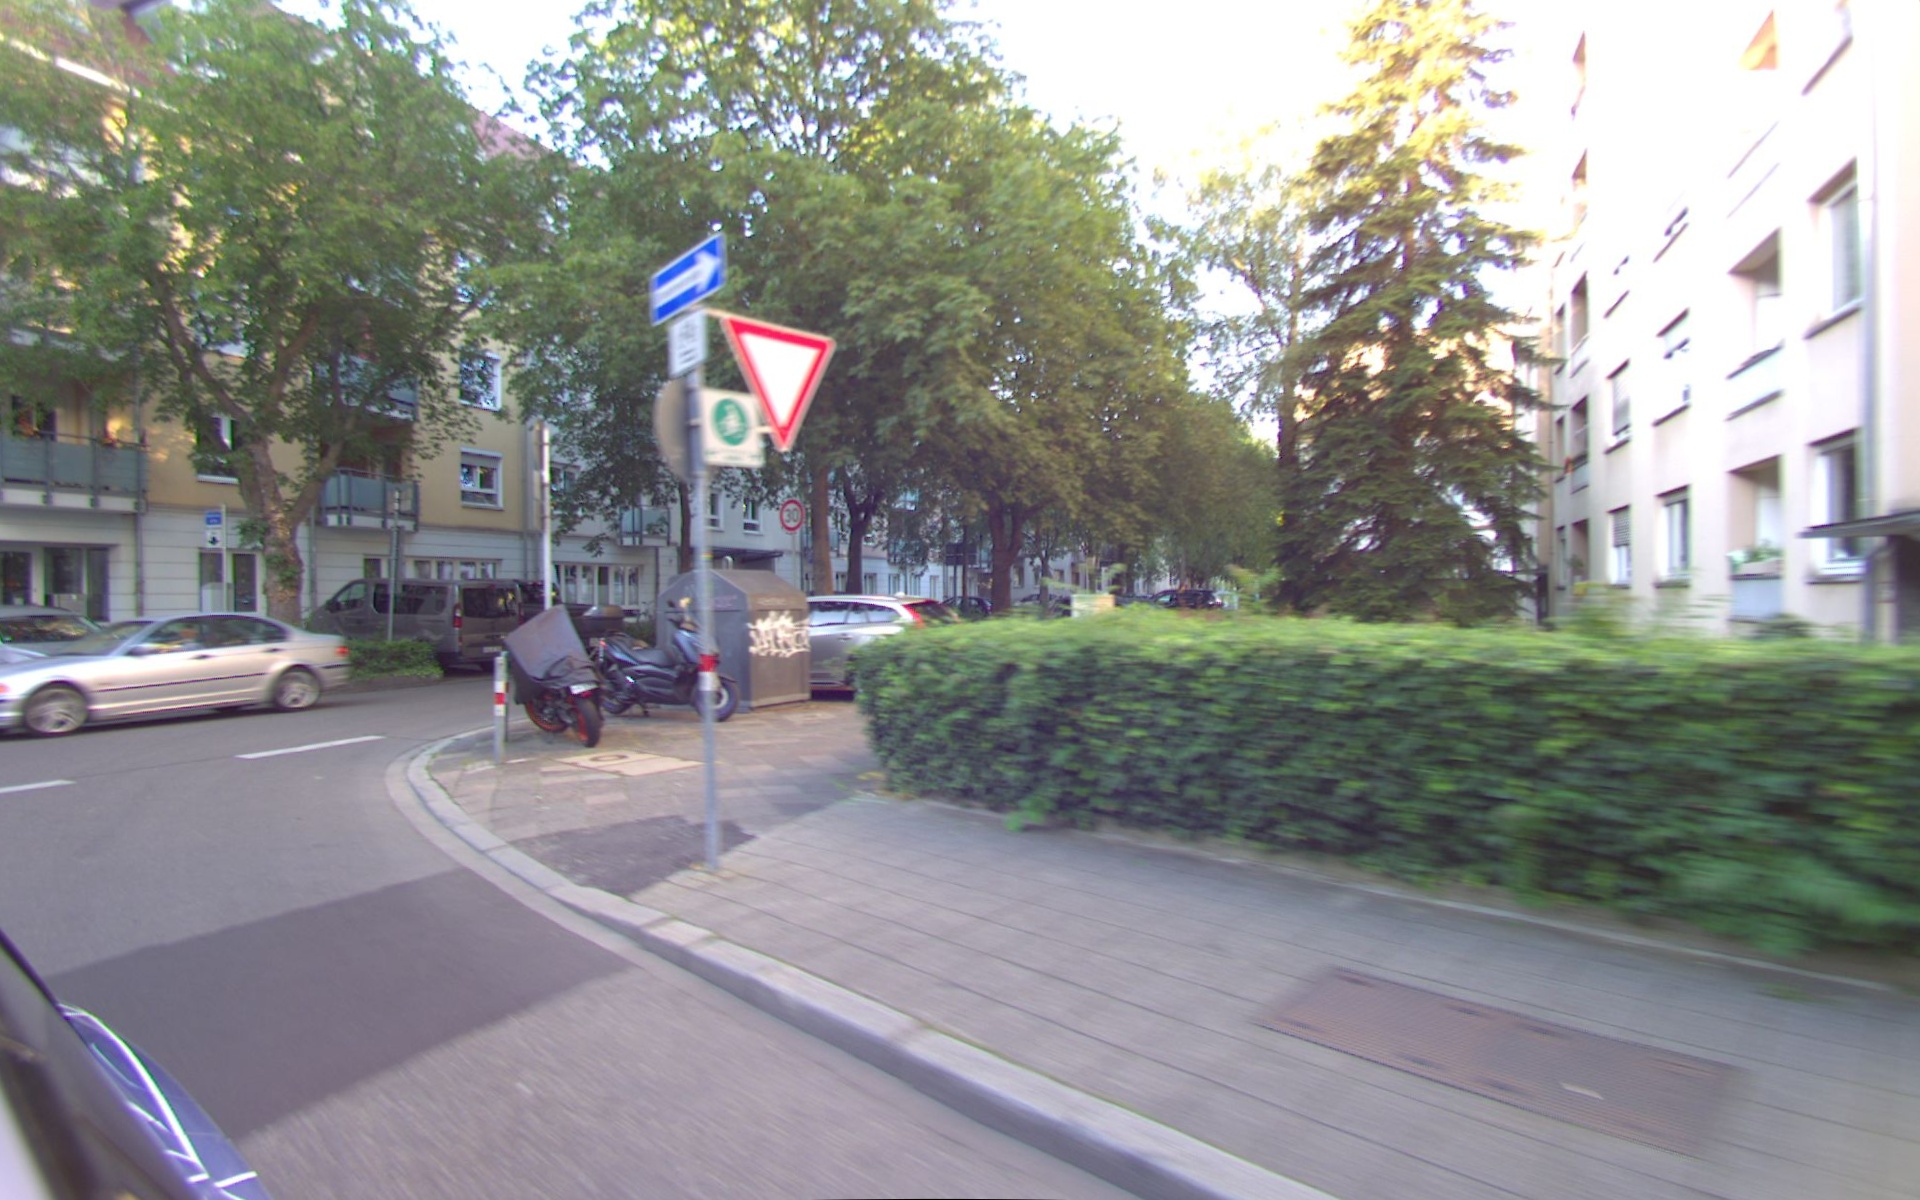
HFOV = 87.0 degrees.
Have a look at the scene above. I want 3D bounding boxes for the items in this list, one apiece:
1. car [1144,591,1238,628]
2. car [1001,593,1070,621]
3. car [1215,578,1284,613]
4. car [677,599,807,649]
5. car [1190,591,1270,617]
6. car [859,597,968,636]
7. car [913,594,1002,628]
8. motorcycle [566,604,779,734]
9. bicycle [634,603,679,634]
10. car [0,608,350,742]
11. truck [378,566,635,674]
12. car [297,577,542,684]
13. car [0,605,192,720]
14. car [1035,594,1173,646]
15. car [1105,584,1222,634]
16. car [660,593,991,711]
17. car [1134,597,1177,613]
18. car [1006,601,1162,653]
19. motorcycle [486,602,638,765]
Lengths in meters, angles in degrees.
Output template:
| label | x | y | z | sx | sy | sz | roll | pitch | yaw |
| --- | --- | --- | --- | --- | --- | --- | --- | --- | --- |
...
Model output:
| label | x | y | z | sx | sy | sz | roll | pitch | yaw |
| --- | --- | --- | --- | --- | --- | --- | --- | --- | --- |
| car | 11.858 | 0.474 | 51.874 | 4.487 | 1.785 | 1.986 | -1 | 0 | 21 |
| car | 4.811 | 0.445 | 64.302 | 3.955 | 1.597 | 1.902 | 2 | 1 | 22 |
| car | 22.461 | -0.310 | 78.472 | 4.986 | 2.592 | 2.105 | -1 | 0 | 22 |
| car | -7.114 | 0.779 | 33.067 | 3.761 | 1.556 | 1.864 | -1 | 0 | 21 |
| car | 17.876 | 0.249 | 67.035 | 4.837 | 1.634 | 2.144 | -1 | 0 | 23 |
| car | -2.109 | 0.714 | 45.599 | 4.583 | 1.479 | 1.783 | 3 | 1 | 22 |
| car | -0.111 | 0.524 | 51.243 | 4.062 | 1.462 | 1.924 | 3 | 1 | 17 |
| motorcycle | -3.450 | 0.773 | 12.121 | 2.446 | 1.431 | 0.903 | -1 | 0 | 25 |
| bicycle | -10.616 | 0.633 | 35.421 | 0.422 | 1.045 | 1.868 | 1 | 1 | 22 |
| car | -10.325 | 0.828 | 12.811 | 1.727 | 1.381 | 4.299 | -1 | 0 | 23 |
| truck | -10.794 | 0.459 | 24.064 | 5.869 | 2.328 | 2.195 | -1 | 0 | 23 |
| car | -11.520 | 0.601 | 21.608 | 4.582 | 2.082 | 2.182 | 0 | 0 | 21 |
| car | -14.359 | 0.866 | 15.564 | 4.603 | 1.514 | 1.948 | 0 | 1 | 21 |
| car | 4.617 | 0.632 | 32.522 | 3.980 | 1.577 | 1.911 | -1 | 0 | 28 |
| car | 8.449 | 0.372 | 41.966 | 4.487 | 1.970 | 1.986 | -1 | 0 | 21 |
| car | -2.049 | 0.718 | 15.391 | 4.607 | 1.564 | 2.058 | -1 | 0 | 25 |
| car | 19.984 | 0.520 | 103.489 | 4.063 | 1.502 | 1.787 | -1 | 0 | 19 |
| car | 3.667 | 0.782 | 29.936 | 4.273 | 1.440 | 1.865 | -1 | 0 | 22 |
| motorcycle | -4.034 | 0.744 | 10.131 | 0.838 | 1.431 | 2.259 | -1 | 0 | -37 |
